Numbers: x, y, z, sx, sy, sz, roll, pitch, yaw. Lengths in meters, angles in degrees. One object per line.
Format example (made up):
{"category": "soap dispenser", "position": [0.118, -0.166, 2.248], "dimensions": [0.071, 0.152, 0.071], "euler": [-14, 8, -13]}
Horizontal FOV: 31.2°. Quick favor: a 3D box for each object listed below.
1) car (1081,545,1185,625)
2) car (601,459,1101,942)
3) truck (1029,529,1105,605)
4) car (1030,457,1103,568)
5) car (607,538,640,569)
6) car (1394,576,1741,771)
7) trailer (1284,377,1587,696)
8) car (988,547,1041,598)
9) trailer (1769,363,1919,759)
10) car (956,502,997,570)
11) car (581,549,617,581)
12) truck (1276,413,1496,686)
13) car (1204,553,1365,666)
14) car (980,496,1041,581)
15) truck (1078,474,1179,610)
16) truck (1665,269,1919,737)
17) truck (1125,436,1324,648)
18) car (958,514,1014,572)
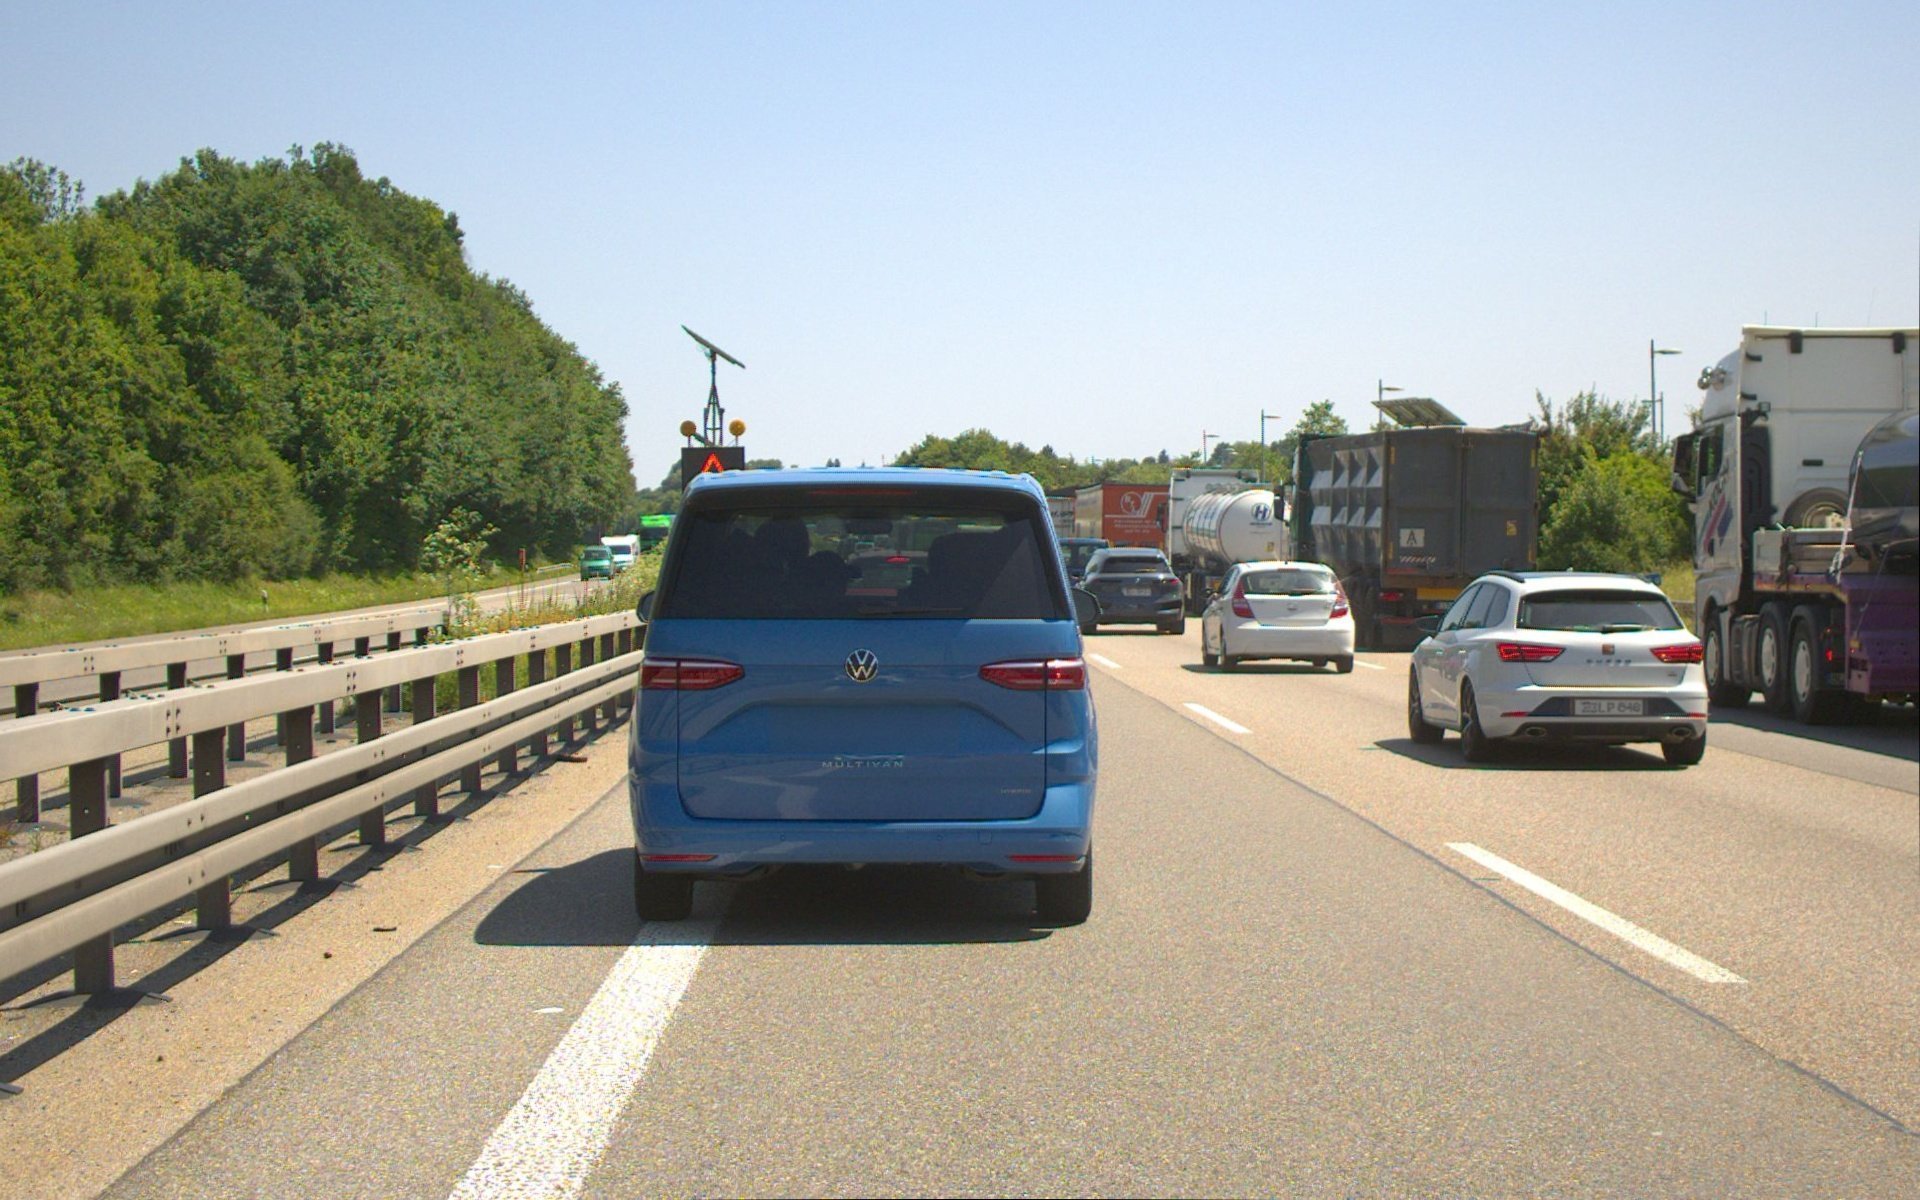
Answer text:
{"category": "car", "position": [3.386, -0.281, 67.862], "dimensions": [1.781, 1.519, 4.000], "euler": [1, 0, -1]}
{"category": "car", "position": [-0.394, 0.394, 15.232], "dimensions": [1.901, 1.831, 4.000], "euler": [1, 0, 1]}
{"category": "truck", "position": [2.720, -0.826, 88.069], "dimensions": [1.725, 1.851, 4.000], "euler": [1, 0, -1]}
{"category": "car", "position": [5.243, -4.260, 170.708], "dimensions": [3.218, 5.239, 8.144], "euler": [1, 0, 0]}
{"category": "car", "position": [-22.071, -3.038, 225.361], "dimensions": [1.796, 1.880, 4.000], "euler": [1, 0, -1]}
{"category": "car", "position": [4.572, 0.508, 26.444], "dimensions": [1.867, 1.356, 4.000], "euler": [1, 0, -1]}
{"category": "trailer", "position": [8.303, -1.001, 62.125], "dimensions": [3.646, 5.119, 13.075], "euler": [1, 0, 0]}
{"category": "car", "position": [2.209, -1.114, 140.036], "dimensions": [1.993, 2.007, 4.000], "euler": [1, 0, -1]}
{"category": "trailer", "position": [9.186, -0.292, 24.126], "dimensions": [3.646, 3.068, 15.771], "euler": [1, 0, 1]}
{"category": "car", "position": [1.150, -4.627, 251.196], "dimensions": [2.716, 4.697, 11.561], "euler": [1, 0, -1]}
{"category": "car", "position": [-21.748, -2.101, 207.393], "dimensions": [1.796, 1.880, 4.000], "euler": [1, 0, -1]}
{"category": "truck", "position": [8.390, -0.947, 68.420], "dimensions": [3.658, 5.162, 5.708], "euler": [1, 0, 1]}
{"category": "car", "position": [4.383, 0.137, 46.908], "dimensions": [1.840, 1.449, 4.000], "euler": [1, 0, 1]}
{"category": "car", "position": [3.224, -3.899, 221.625], "dimensions": [3.218, 5.239, 8.145], "euler": [1, 0, -4]}
{"category": "truck", "position": [6.311, -2.099, 130.393], "dimensions": [3.068, 4.903, 10.690], "euler": [1, 0, -1]}
{"category": "truck", "position": [9.416, -0.813, 33.749], "dimensions": [3.626, 4.080, 7.523], "euler": [1, 0, 2]}
{"category": "truck", "position": [6.921, -1.405, 92.846], "dimensions": [3.621, 5.195, 15.690], "euler": [1, 0, -2]}
{"category": "car", "position": [1.246, -2.763, 167.766], "dimensions": [2.550, 2.708, 5.621], "euler": [1, 0, -1]}
